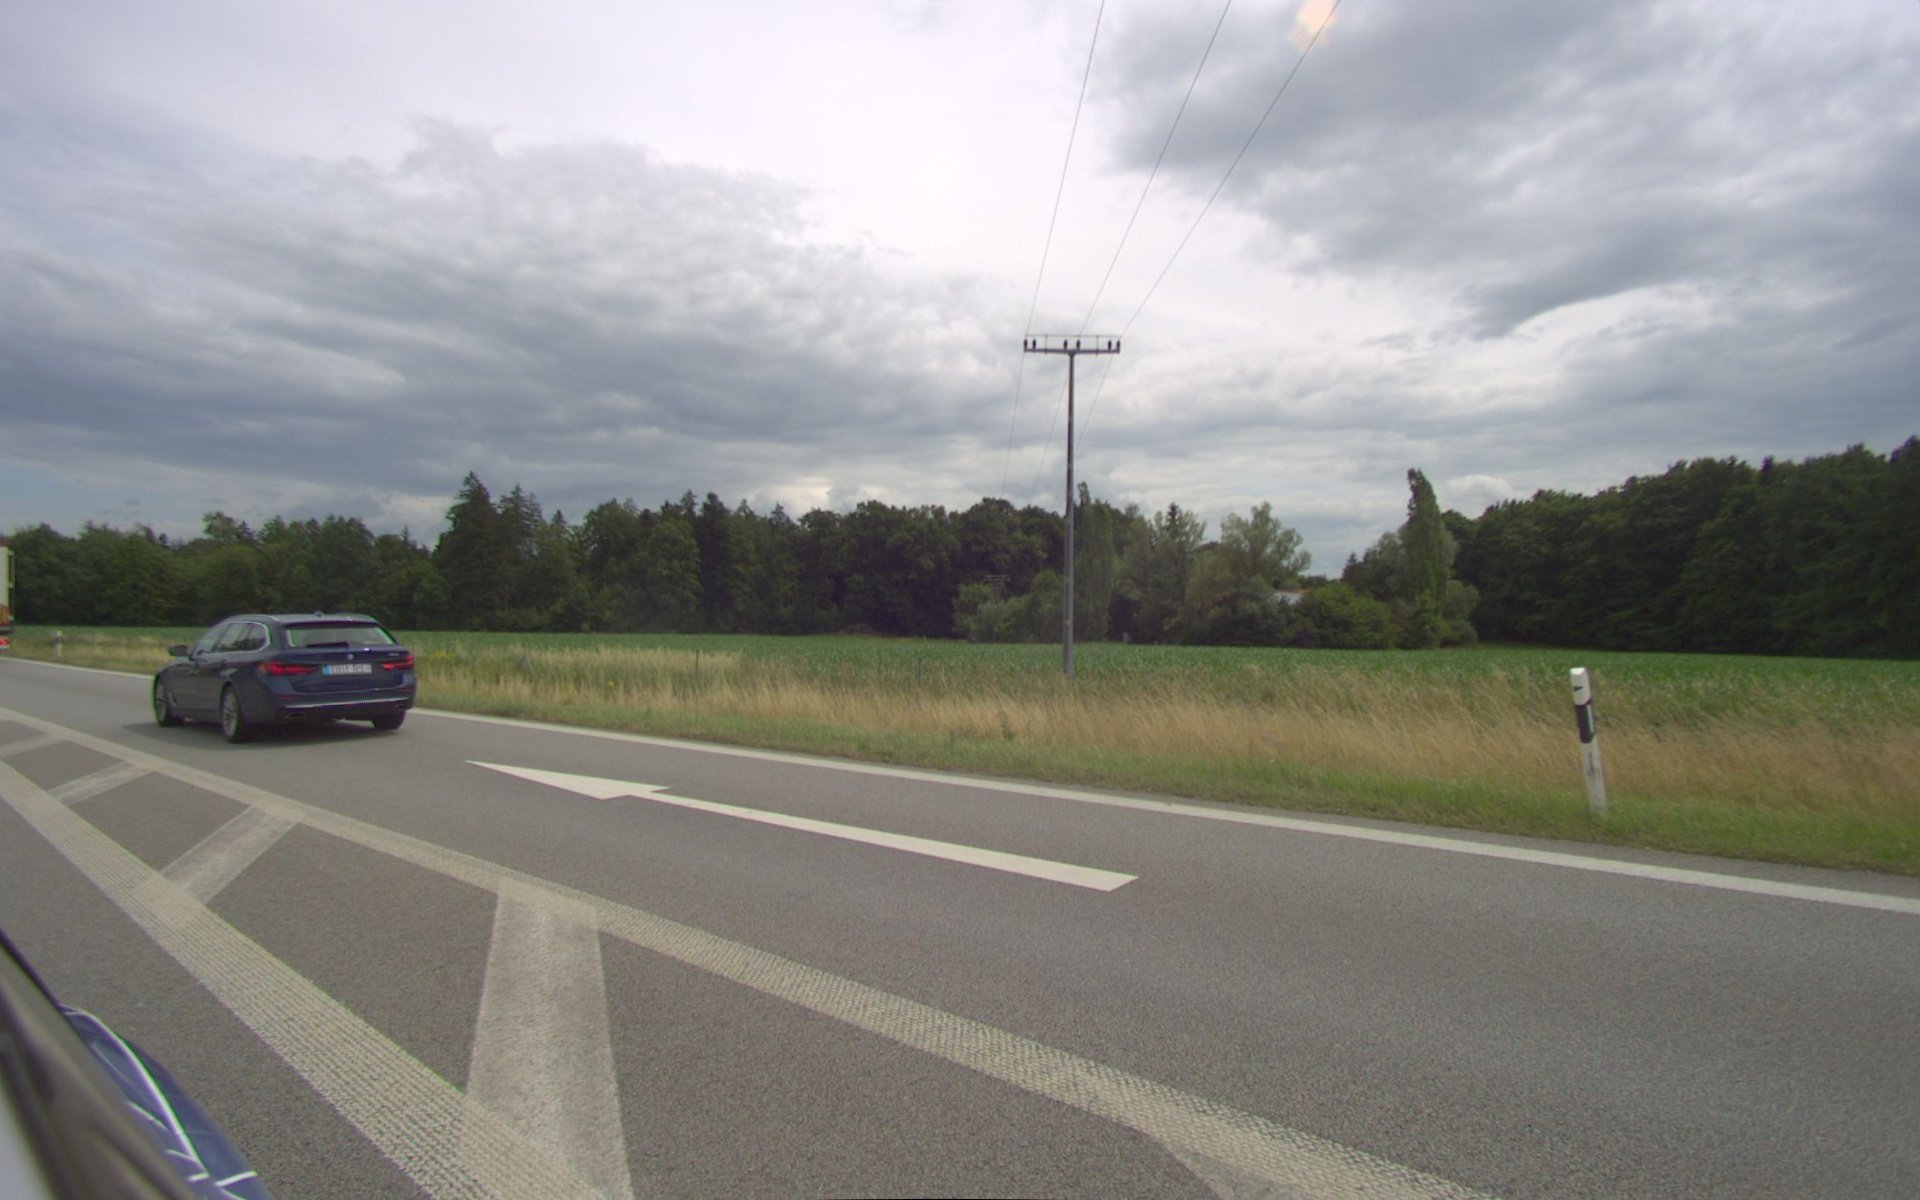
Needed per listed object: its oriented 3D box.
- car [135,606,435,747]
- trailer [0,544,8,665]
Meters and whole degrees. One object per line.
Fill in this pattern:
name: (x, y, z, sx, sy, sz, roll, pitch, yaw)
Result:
car: (-8.919, 0.852, 13.154, 5.193, 1.490, 1.839, -1, -1, 40)
trailer: (-37.520, 0.285, 36.635, 13.057, 4.026, 2.466, -2, -2, 38)
